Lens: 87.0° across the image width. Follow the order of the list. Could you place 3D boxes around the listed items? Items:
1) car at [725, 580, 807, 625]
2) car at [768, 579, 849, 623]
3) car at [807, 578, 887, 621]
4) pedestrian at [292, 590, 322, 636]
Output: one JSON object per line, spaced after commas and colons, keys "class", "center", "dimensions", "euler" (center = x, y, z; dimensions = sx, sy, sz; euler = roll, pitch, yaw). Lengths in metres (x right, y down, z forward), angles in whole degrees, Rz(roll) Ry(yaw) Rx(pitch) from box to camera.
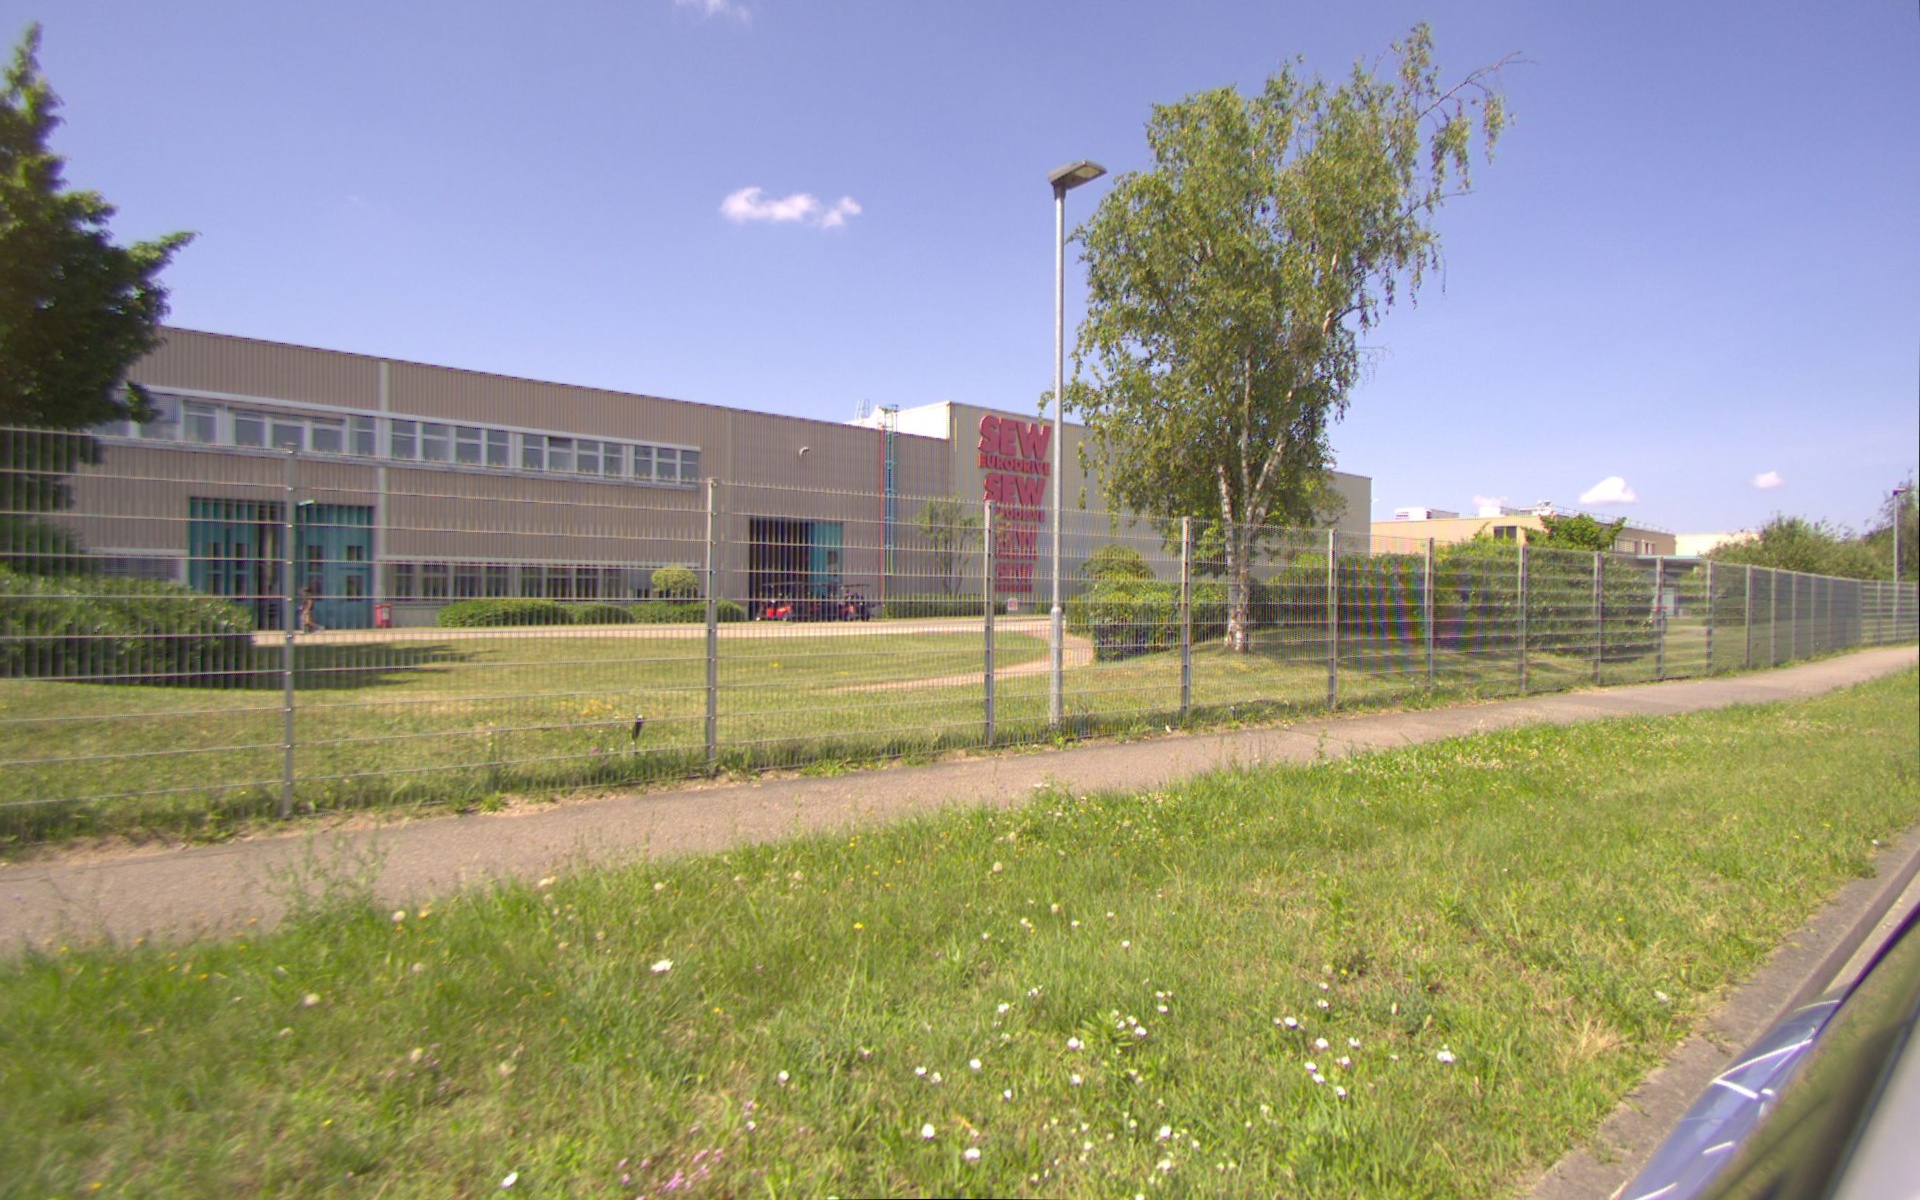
{"class": "car", "center": [-9.162, 0.081, 47.607], "dimensions": [1.938, 2.039, 4.164], "euler": [0, 1, -42]}
{"class": "car", "center": [-7.403, 0.009, 49.319], "dimensions": [1.938, 2.039, 4.164], "euler": [0, 1, -42]}
{"class": "car", "center": [-5.746, -0.059, 50.984], "dimensions": [1.938, 2.039, 4.164], "euler": [0, 1, -42]}
{"class": "pedestrian", "center": [-20.335, 0.393, 31.519], "dimensions": [0.717, 1.408, 0.514], "euler": [0, 0, -41]}
